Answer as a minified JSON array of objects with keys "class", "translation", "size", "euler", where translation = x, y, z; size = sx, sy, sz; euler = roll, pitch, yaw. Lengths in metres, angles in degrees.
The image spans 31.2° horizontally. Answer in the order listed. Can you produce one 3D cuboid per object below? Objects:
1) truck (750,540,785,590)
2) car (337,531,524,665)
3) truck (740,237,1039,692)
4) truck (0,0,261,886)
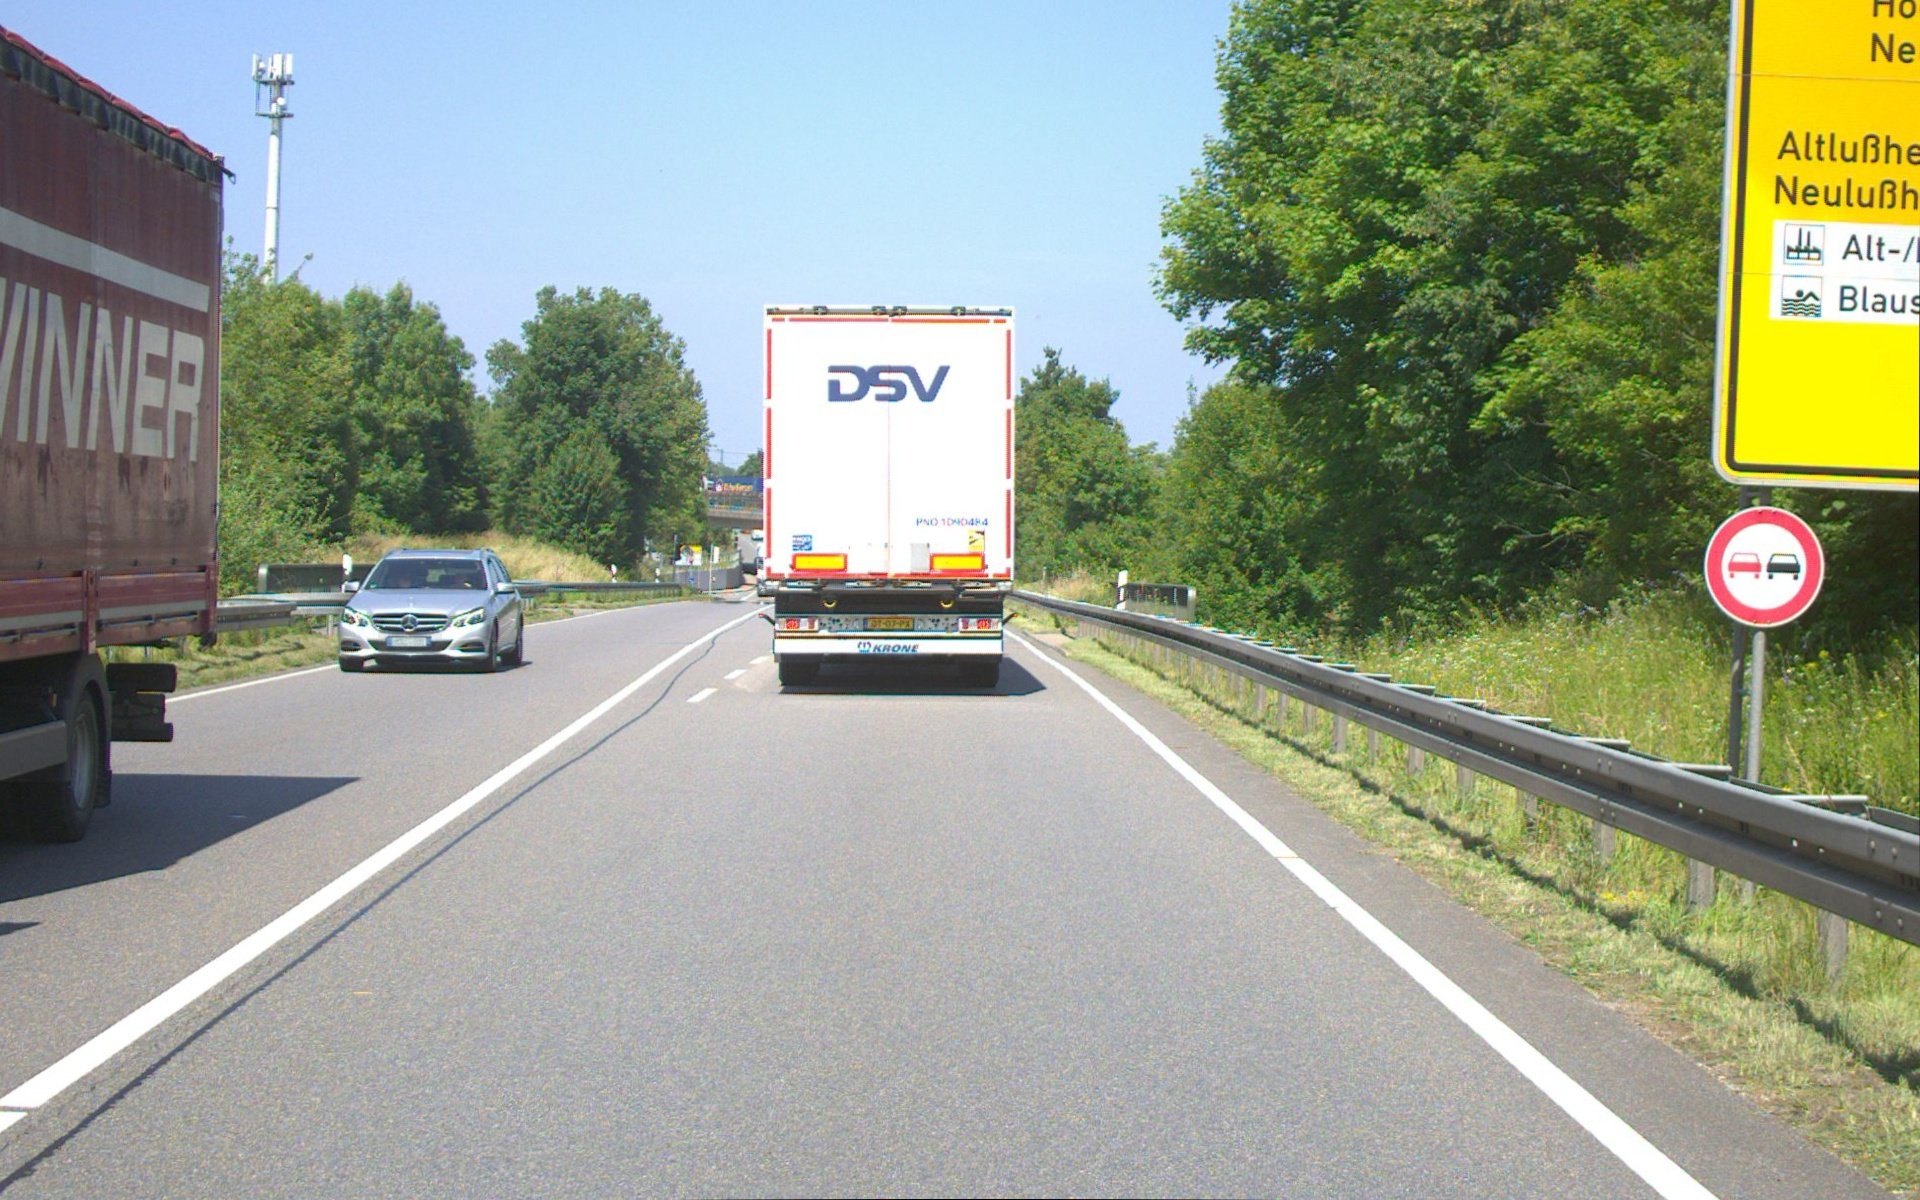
[{"class":"truck","translation":[-14.804,-2.692,265.181],"size":[2.353,3.737,12.626],"euler":[1,1,-2]},{"class":"car","translation":[-6.450,-0.047,42.267],"size":[1.818,1.541,4.527],"euler":[1,1,-3]},{"class":"truck","translation":[-0.773,-1.447,39.647],"size":[2.950,4.553,9.863],"euler":[1,1,-1]},{"class":"truck","translation":[-5.644,-0.693,15.842],"size":[3.191,3.687,9.007],"euler":[1,1,-2]}]
